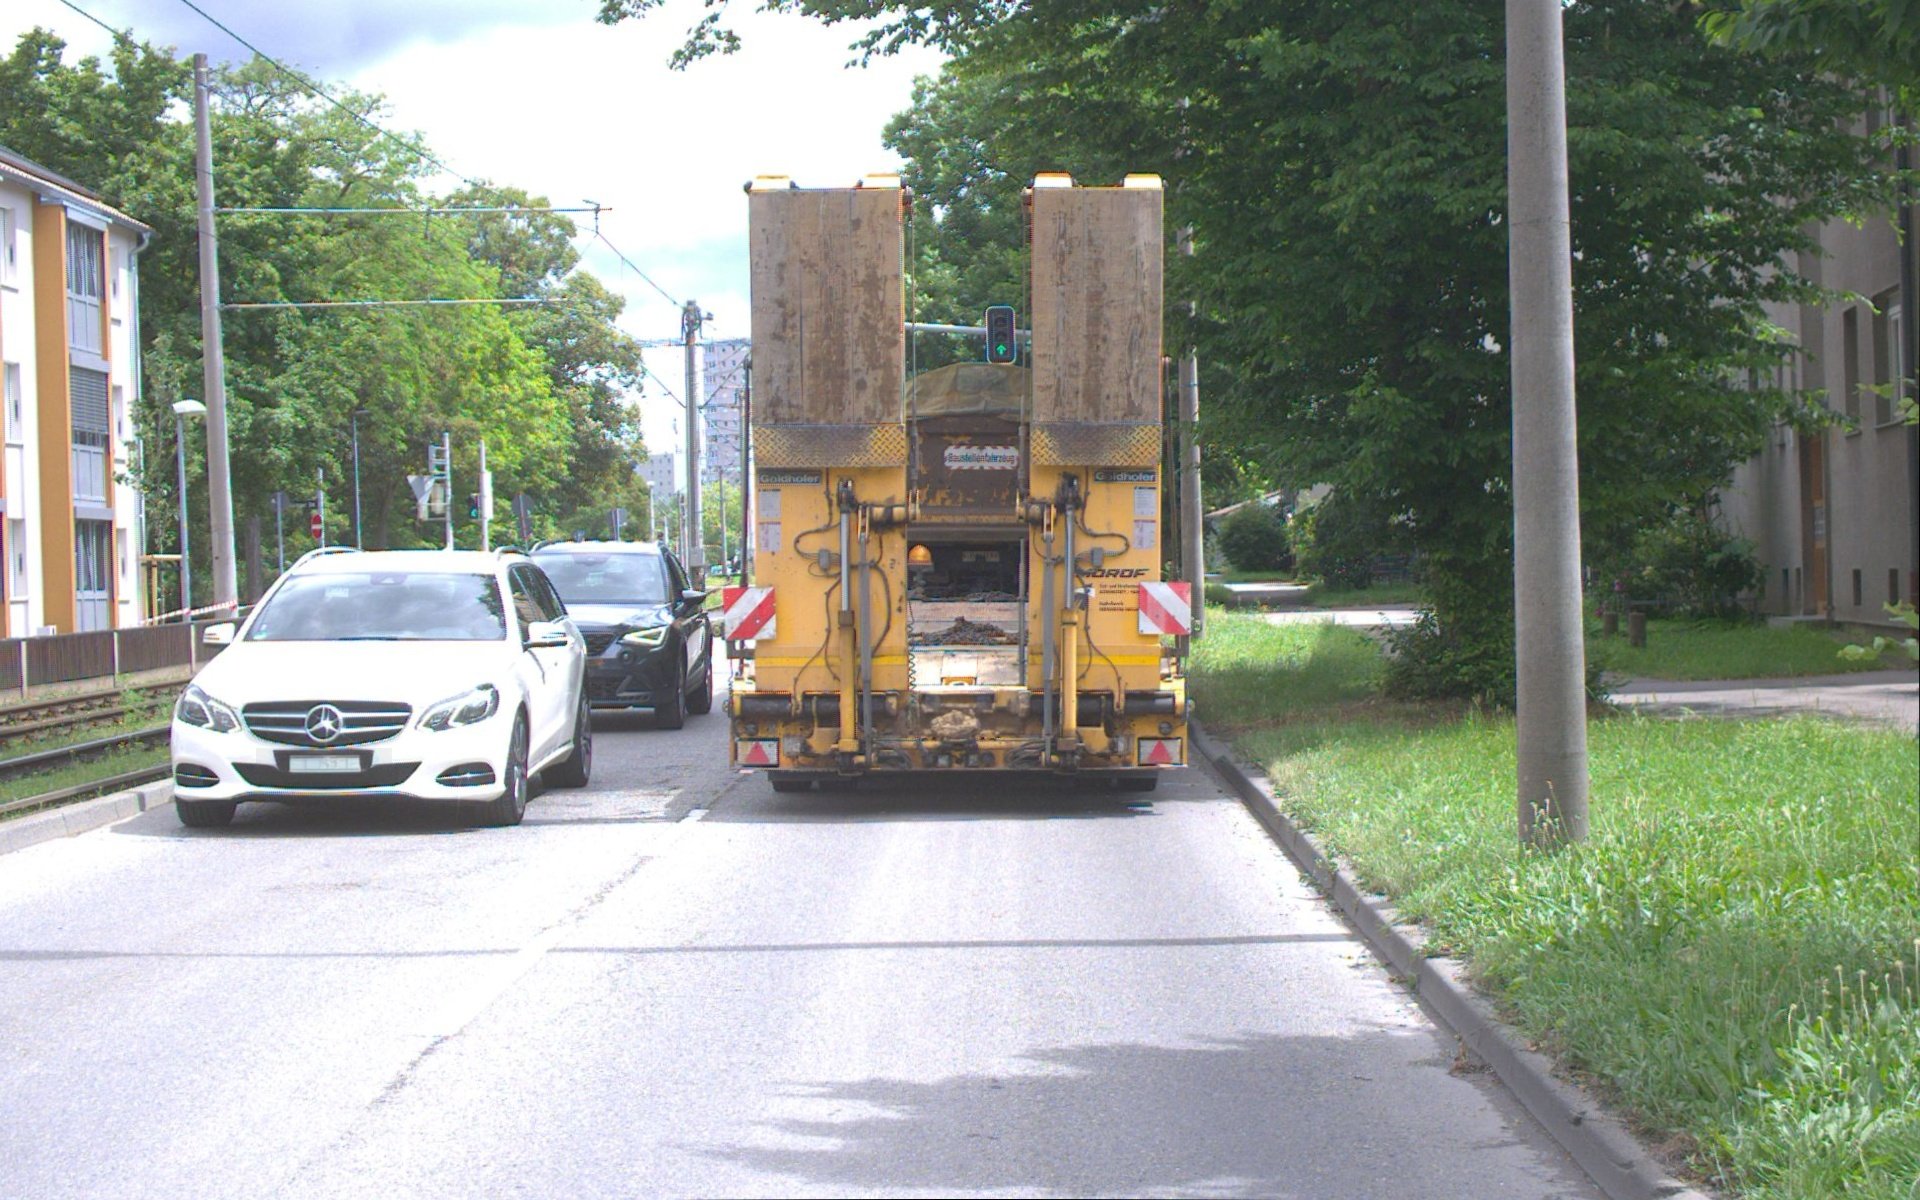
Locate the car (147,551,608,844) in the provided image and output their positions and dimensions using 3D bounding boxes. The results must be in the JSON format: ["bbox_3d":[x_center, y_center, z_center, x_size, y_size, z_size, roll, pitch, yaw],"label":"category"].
[{"bbox_3d":[-3.225,0.468,19.917,1.879,1.476,4.529,0,1,0],"label":"car"}]

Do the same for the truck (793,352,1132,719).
[{"bbox_3d":[0.064,-0.639,33.453,2.917,3.156,7.680,0,1,1],"label":"truck"}]

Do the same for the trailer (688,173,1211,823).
[{"bbox_3d":[-0.046,-0.660,24.108,2.822,3.512,11.052,0,1,0],"label":"trailer"}]

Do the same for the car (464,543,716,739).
[{"bbox_3d":[-3.057,0.291,29.067,1.650,1.515,3.866,0,1,1],"label":"car"}]
